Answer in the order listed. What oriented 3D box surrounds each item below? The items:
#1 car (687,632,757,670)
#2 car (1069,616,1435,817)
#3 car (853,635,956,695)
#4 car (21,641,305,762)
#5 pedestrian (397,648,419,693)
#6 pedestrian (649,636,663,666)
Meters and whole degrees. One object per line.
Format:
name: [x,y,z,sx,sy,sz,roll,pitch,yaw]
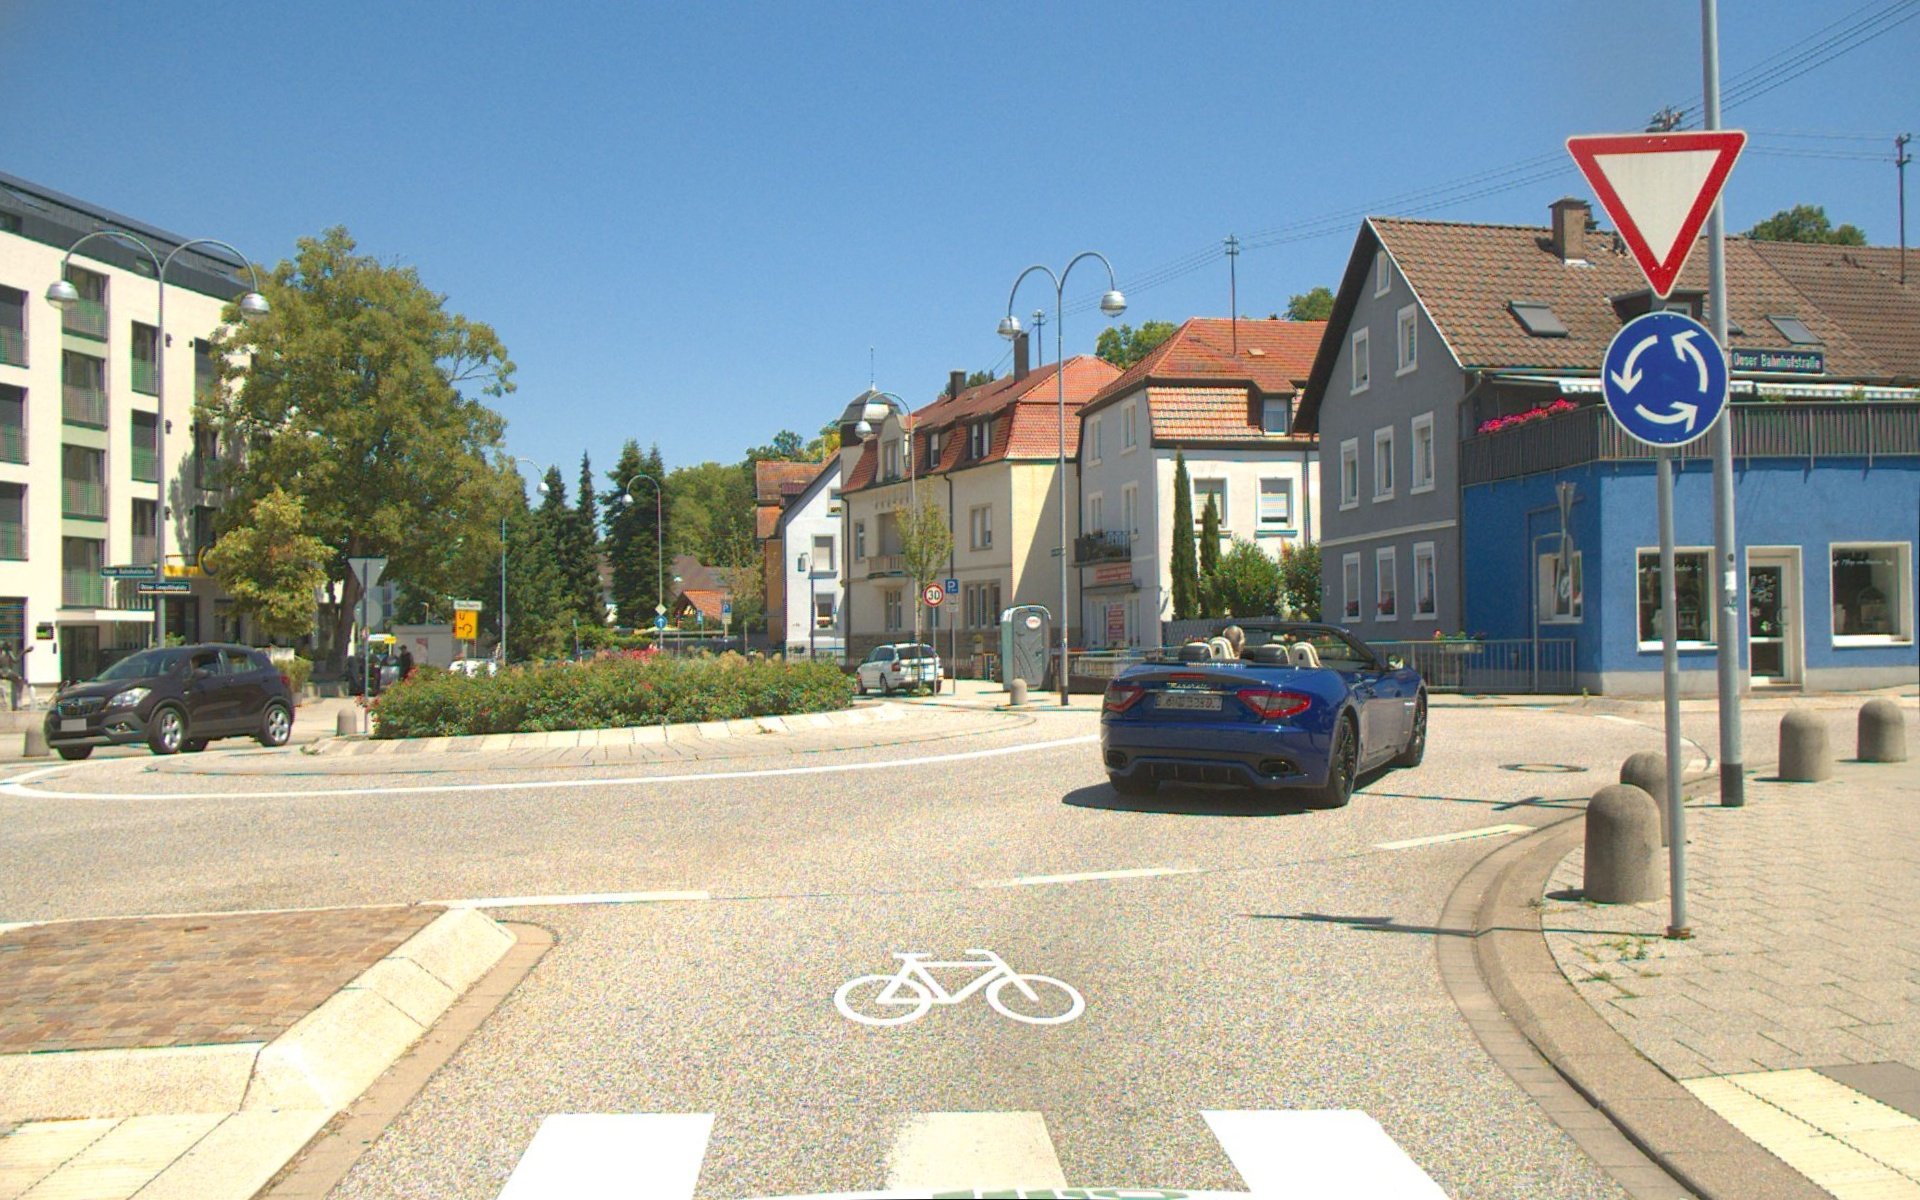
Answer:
car: [-11.013,2.376,76.389,1.831,1.616,3.959,-2,-1,-30]
car: [2.594,0.852,13.773,1.873,1.384,4.280,-1,-1,26]
car: [-1.702,1.944,49.282,1.890,1.641,4.123,-1,-2,-20]
car: [-12.047,1.489,25.318,1.759,1.671,4.062,-2,-2,12]
pedestrian: [-20.079,2.577,60.141,0.523,1.603,0.563,-2,-1,11]
pedestrian: [-16.773,2.798,91.245,0.604,1.613,0.582,-1,-1,-27]
